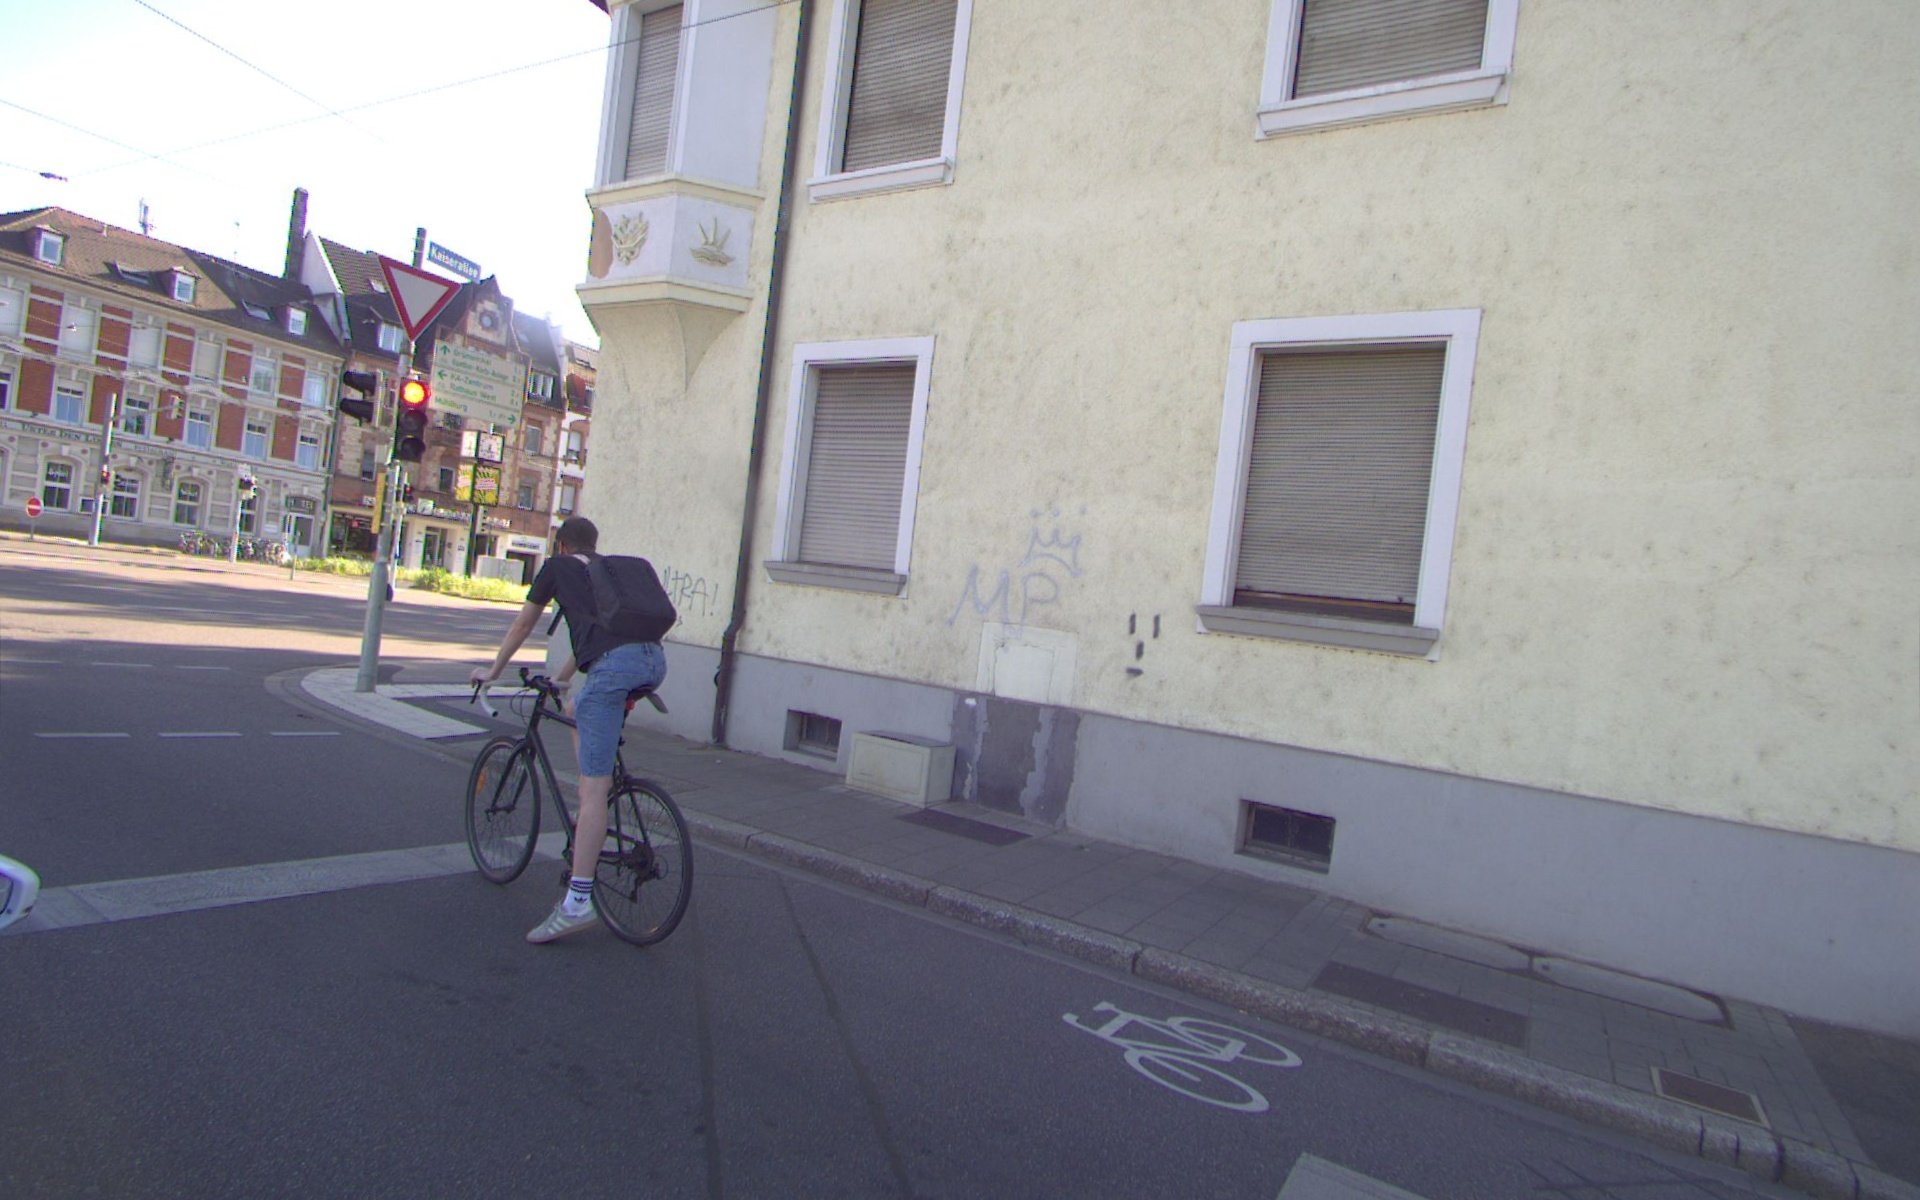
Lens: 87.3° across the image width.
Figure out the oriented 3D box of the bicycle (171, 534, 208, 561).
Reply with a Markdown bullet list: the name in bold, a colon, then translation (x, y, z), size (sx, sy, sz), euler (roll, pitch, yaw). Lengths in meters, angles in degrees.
- **bicycle**: translation (-34.941, -2.382, 45.608), size (1.614, 1.064, 0.606), euler (7, 0, 27)

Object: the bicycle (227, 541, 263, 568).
- **bicycle**: translation (-33.644, -2.142, 47.336), size (1.614, 1.064, 0.606), euler (7, 0, 27)

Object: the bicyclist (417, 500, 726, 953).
- **bicyclist**: translation (-1.736, 0.497, 4.483), size (1.066, 1.751, 0.561), euler (6, -1, 32)

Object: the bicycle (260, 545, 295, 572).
- **bicycle**: translation (-32.976, -2.004, 48.584), size (1.614, 1.064, 0.606), euler (7, 0, 27)

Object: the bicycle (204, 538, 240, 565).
- **bicycle**: translation (-34.311, -2.253, 46.766), size (1.614, 1.064, 0.606), euler (7, 0, 27)

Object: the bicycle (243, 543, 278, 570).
- **bicycle**: translation (-33.350, -2.079, 47.946), size (1.614, 1.064, 0.606), euler (7, 0, 27)

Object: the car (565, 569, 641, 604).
- **car**: translation (-23.118, -0.849, 65.304), size (1.966, 1.674, 4.378), euler (7, -1, 29)

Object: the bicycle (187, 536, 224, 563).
- **bicycle**: translation (-34.641, -2.320, 46.190), size (1.614, 1.064, 0.606), euler (7, 0, 27)

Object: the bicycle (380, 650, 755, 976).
- **bicycle**: translation (-1.794, 0.850, 4.487), size (1.729, 1.029, 0.532), euler (7, 0, 32)
